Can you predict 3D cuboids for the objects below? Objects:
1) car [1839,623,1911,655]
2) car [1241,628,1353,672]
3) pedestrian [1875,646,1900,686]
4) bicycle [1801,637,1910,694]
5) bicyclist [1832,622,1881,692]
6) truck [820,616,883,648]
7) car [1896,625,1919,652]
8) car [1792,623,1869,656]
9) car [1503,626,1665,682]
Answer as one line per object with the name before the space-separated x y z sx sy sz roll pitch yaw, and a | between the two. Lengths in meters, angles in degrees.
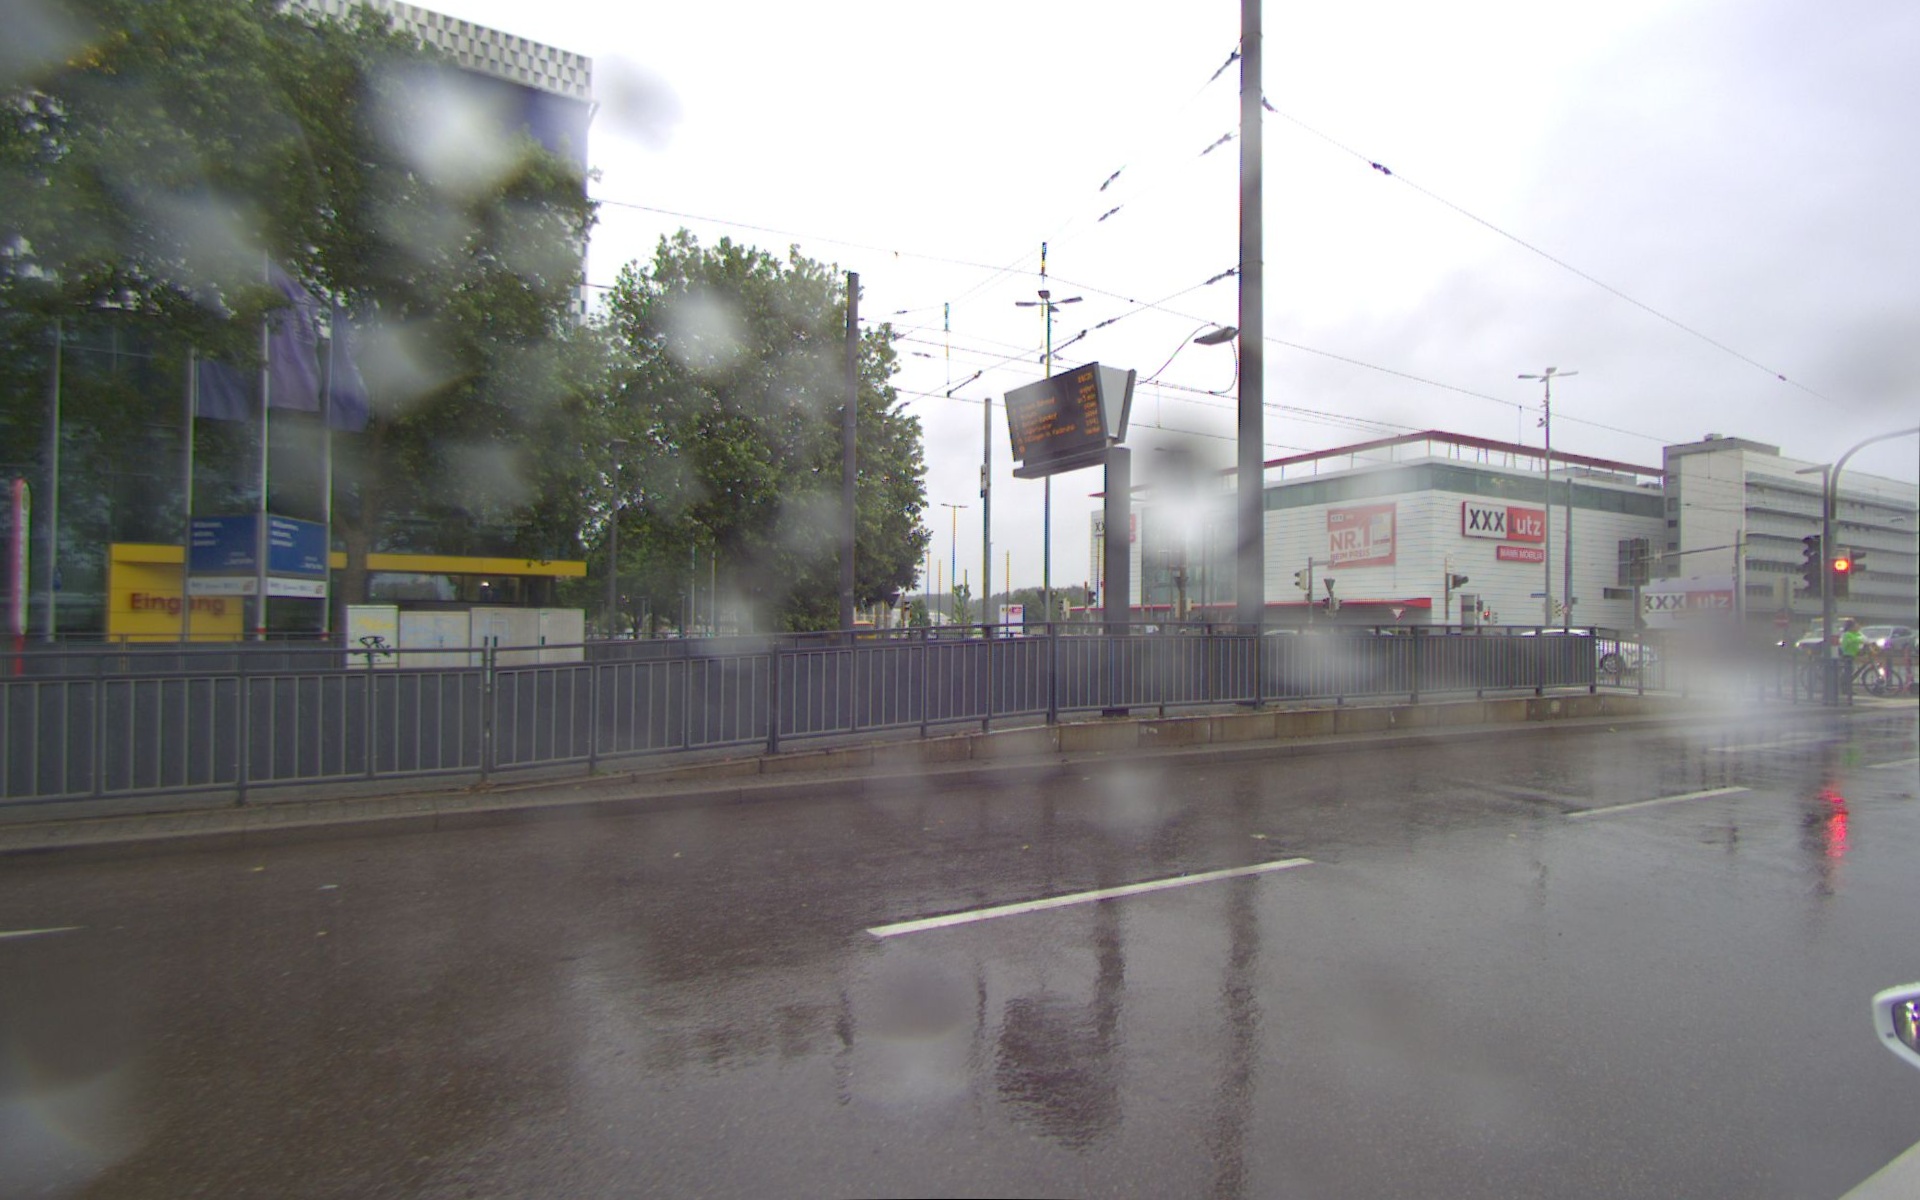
car | 47.833 2.037 52.498 3.765 1.445 1.702 3 0 -30
car | 14.259 2.084 42.803 1.694 1.521 4.472 3 1 -30
pedestrian | 21.540 1.524 23.334 0.376 0.909 0.313 1 1 -32
bicycle | 19.944 1.451 22.406 1.724 1.153 0.520 2 0 18
bicyclist | 19.976 1.259 22.392 0.593 1.511 0.600 2 0 20
truck | -9.349 2.698 85.485 2.445 2.240 7.329 3 0 -31
car | 54.010 2.222 56.094 3.527 1.445 1.552 3 0 -30
car | 42.855 1.932 49.443 3.765 1.445 1.702 3 0 -30
car | 20.909 1.770 33.781 1.806 1.521 4.224 3 1 -39
